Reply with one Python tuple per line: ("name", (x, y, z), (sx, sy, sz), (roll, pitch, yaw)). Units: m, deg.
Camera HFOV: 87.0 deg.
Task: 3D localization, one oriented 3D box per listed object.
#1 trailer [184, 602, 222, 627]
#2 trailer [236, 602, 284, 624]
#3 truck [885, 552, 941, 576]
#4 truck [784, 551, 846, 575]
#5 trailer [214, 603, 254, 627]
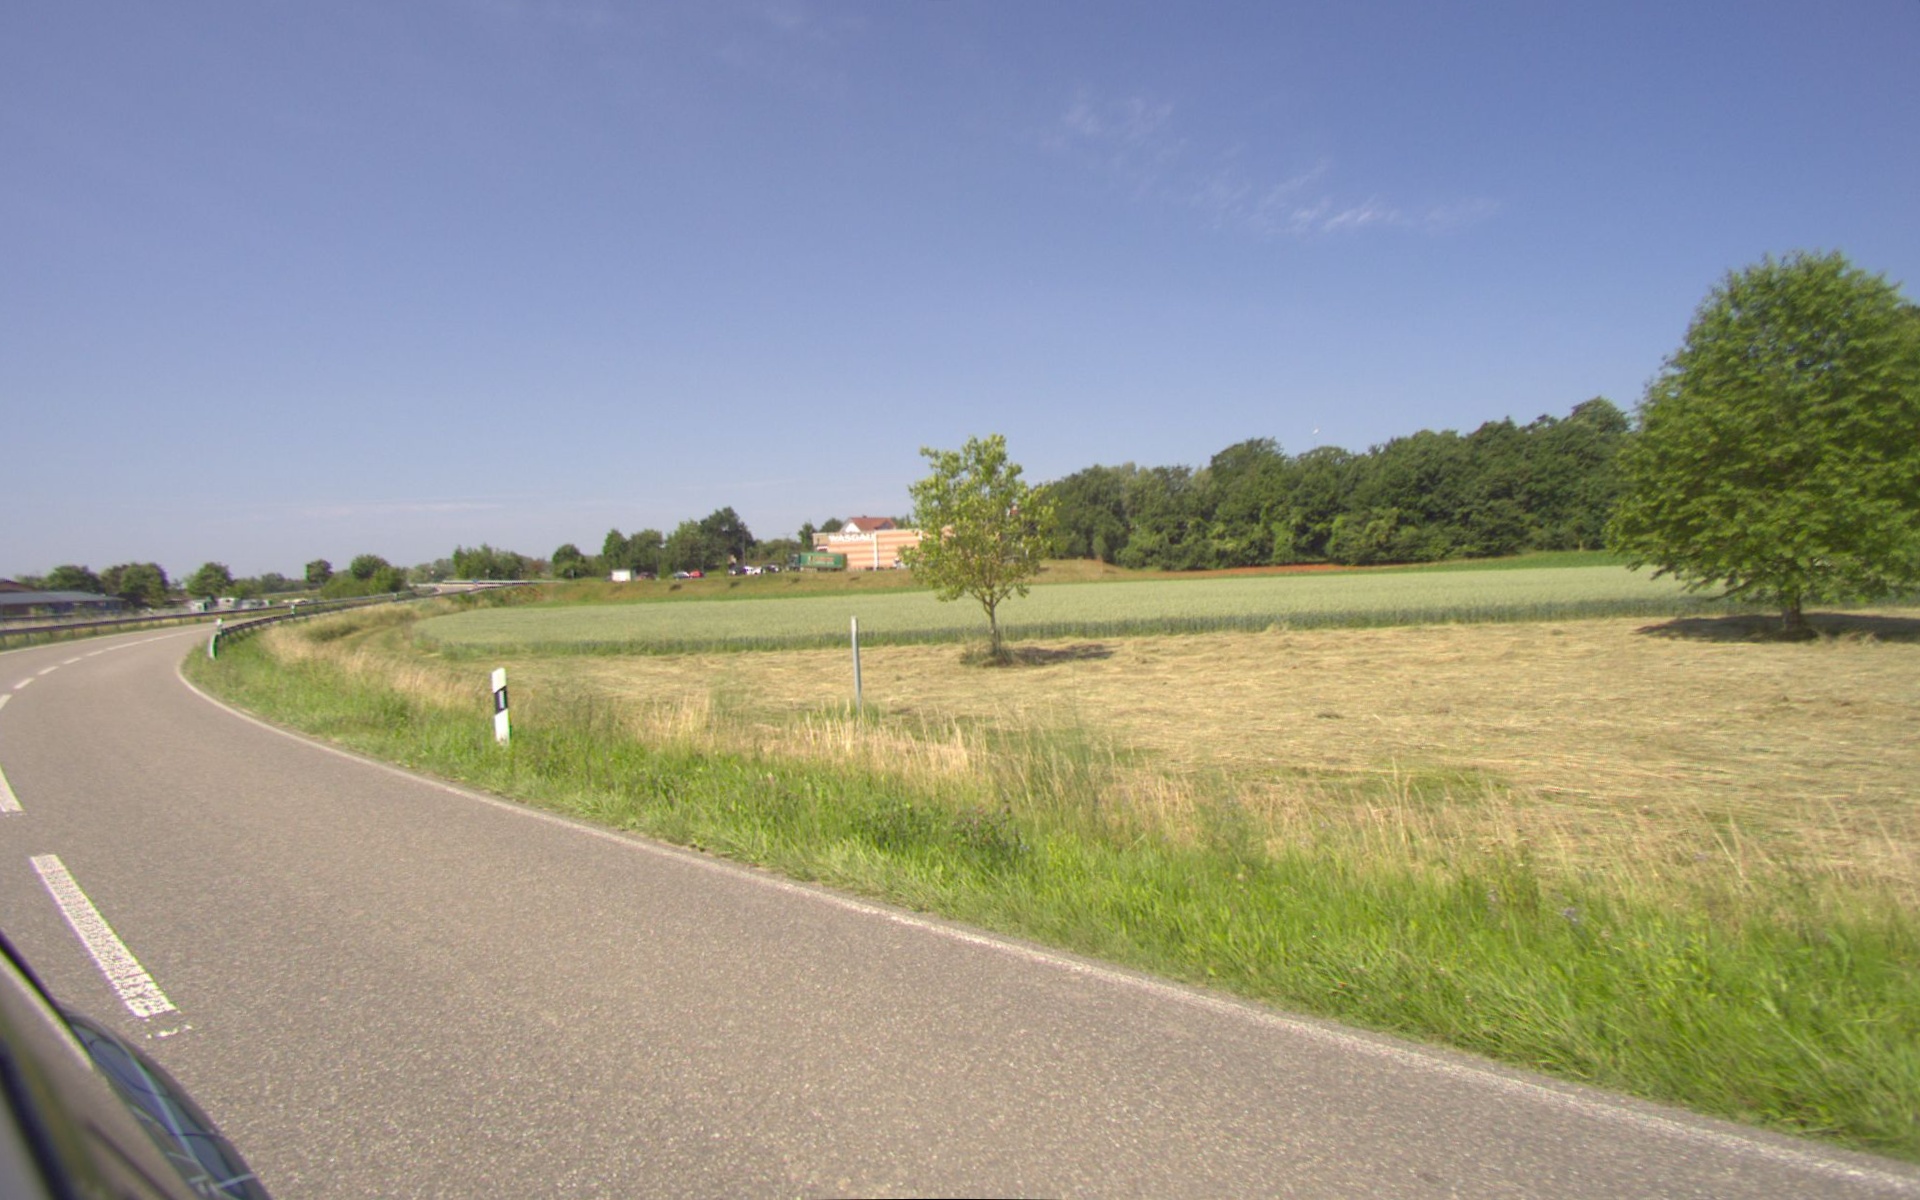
("trailer", (-90.231, 1.704, 120.633), (4.466, 2.690, 2.152), (1, 2, 32))
("trailer", (-95.305, 1.716, 137.742), (5.126, 2.708, 2.204), (-3, 1, 7))
("truck", (-7.893, -6.066, 169.842), (8.782, 3.589, 2.872), (-3, 4, 9))
("truck", (-24.194, -6.162, 168.924), (9.841, 3.502, 2.868), (-2, 4, 13))
("trailer", (-89.861, 1.859, 125.313), (5.027, 2.886, 2.211), (-1, 1, 32))
